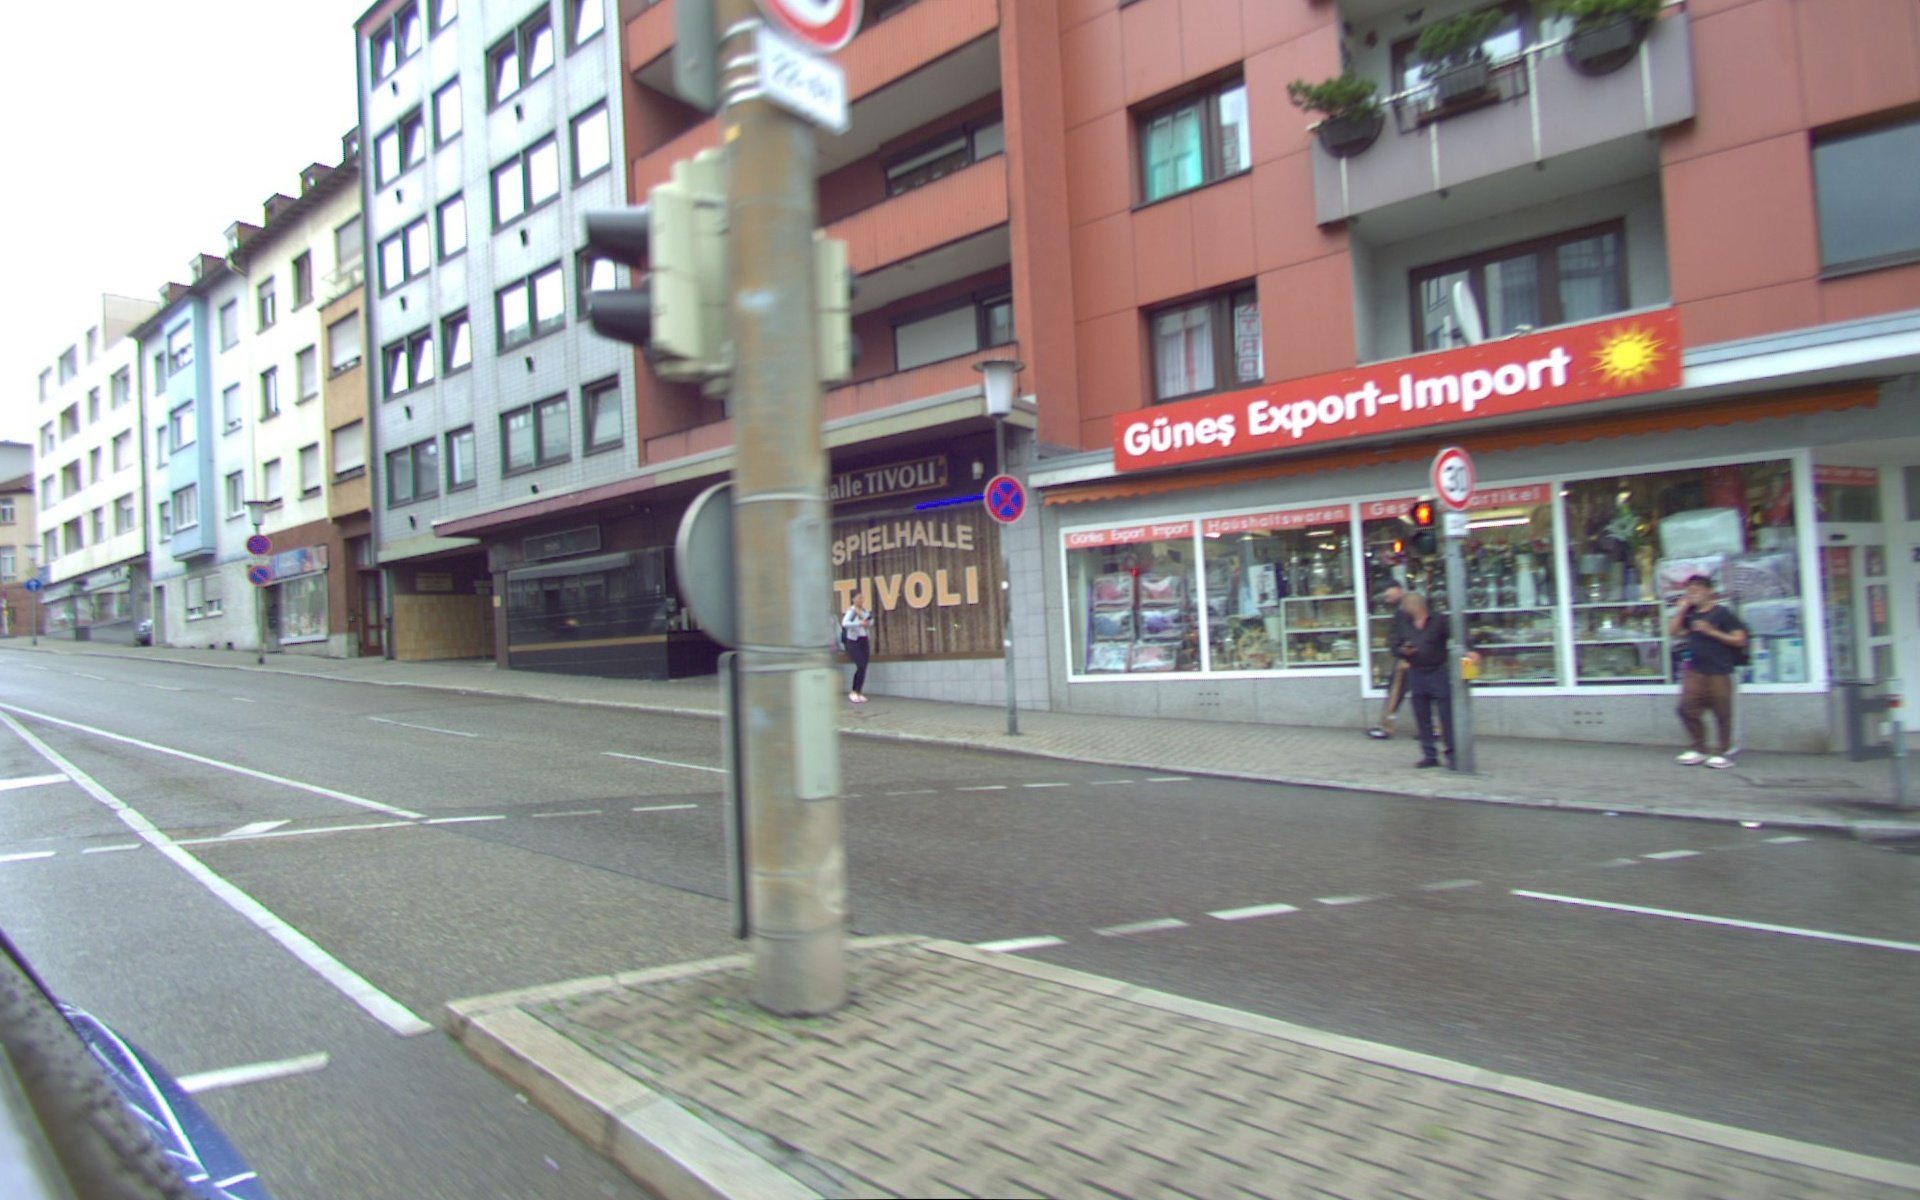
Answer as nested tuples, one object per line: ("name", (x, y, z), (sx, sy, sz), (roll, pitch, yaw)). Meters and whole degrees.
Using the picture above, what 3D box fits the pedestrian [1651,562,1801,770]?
("pedestrian", (7.174, 0.583, 9.508), (0.711, 1.845, 0.832), (-1, 0, -18))

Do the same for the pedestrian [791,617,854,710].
("pedestrian", (-2.065, 0.935, 15.259), (0.721, 1.333, 0.530), (-1, 2, 30))

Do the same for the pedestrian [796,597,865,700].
("pedestrian", (-2.097, 0.771, 16.442), (0.720, 1.572, 0.822), (-1, 2, 29))

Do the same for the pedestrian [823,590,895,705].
("pedestrian", (-1.569, 0.718, 15.754), (0.720, 1.702, 0.822), (-1, 2, 29))

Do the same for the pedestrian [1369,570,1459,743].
("pedestrian", (5.115, 0.608, 11.390), (0.840, 1.862, 0.755), (-1, 0, 28))

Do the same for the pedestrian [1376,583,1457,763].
("pedestrian", (4.524, 0.694, 10.017), (0.622, 1.710, 0.549), (-1, 0, 35))
